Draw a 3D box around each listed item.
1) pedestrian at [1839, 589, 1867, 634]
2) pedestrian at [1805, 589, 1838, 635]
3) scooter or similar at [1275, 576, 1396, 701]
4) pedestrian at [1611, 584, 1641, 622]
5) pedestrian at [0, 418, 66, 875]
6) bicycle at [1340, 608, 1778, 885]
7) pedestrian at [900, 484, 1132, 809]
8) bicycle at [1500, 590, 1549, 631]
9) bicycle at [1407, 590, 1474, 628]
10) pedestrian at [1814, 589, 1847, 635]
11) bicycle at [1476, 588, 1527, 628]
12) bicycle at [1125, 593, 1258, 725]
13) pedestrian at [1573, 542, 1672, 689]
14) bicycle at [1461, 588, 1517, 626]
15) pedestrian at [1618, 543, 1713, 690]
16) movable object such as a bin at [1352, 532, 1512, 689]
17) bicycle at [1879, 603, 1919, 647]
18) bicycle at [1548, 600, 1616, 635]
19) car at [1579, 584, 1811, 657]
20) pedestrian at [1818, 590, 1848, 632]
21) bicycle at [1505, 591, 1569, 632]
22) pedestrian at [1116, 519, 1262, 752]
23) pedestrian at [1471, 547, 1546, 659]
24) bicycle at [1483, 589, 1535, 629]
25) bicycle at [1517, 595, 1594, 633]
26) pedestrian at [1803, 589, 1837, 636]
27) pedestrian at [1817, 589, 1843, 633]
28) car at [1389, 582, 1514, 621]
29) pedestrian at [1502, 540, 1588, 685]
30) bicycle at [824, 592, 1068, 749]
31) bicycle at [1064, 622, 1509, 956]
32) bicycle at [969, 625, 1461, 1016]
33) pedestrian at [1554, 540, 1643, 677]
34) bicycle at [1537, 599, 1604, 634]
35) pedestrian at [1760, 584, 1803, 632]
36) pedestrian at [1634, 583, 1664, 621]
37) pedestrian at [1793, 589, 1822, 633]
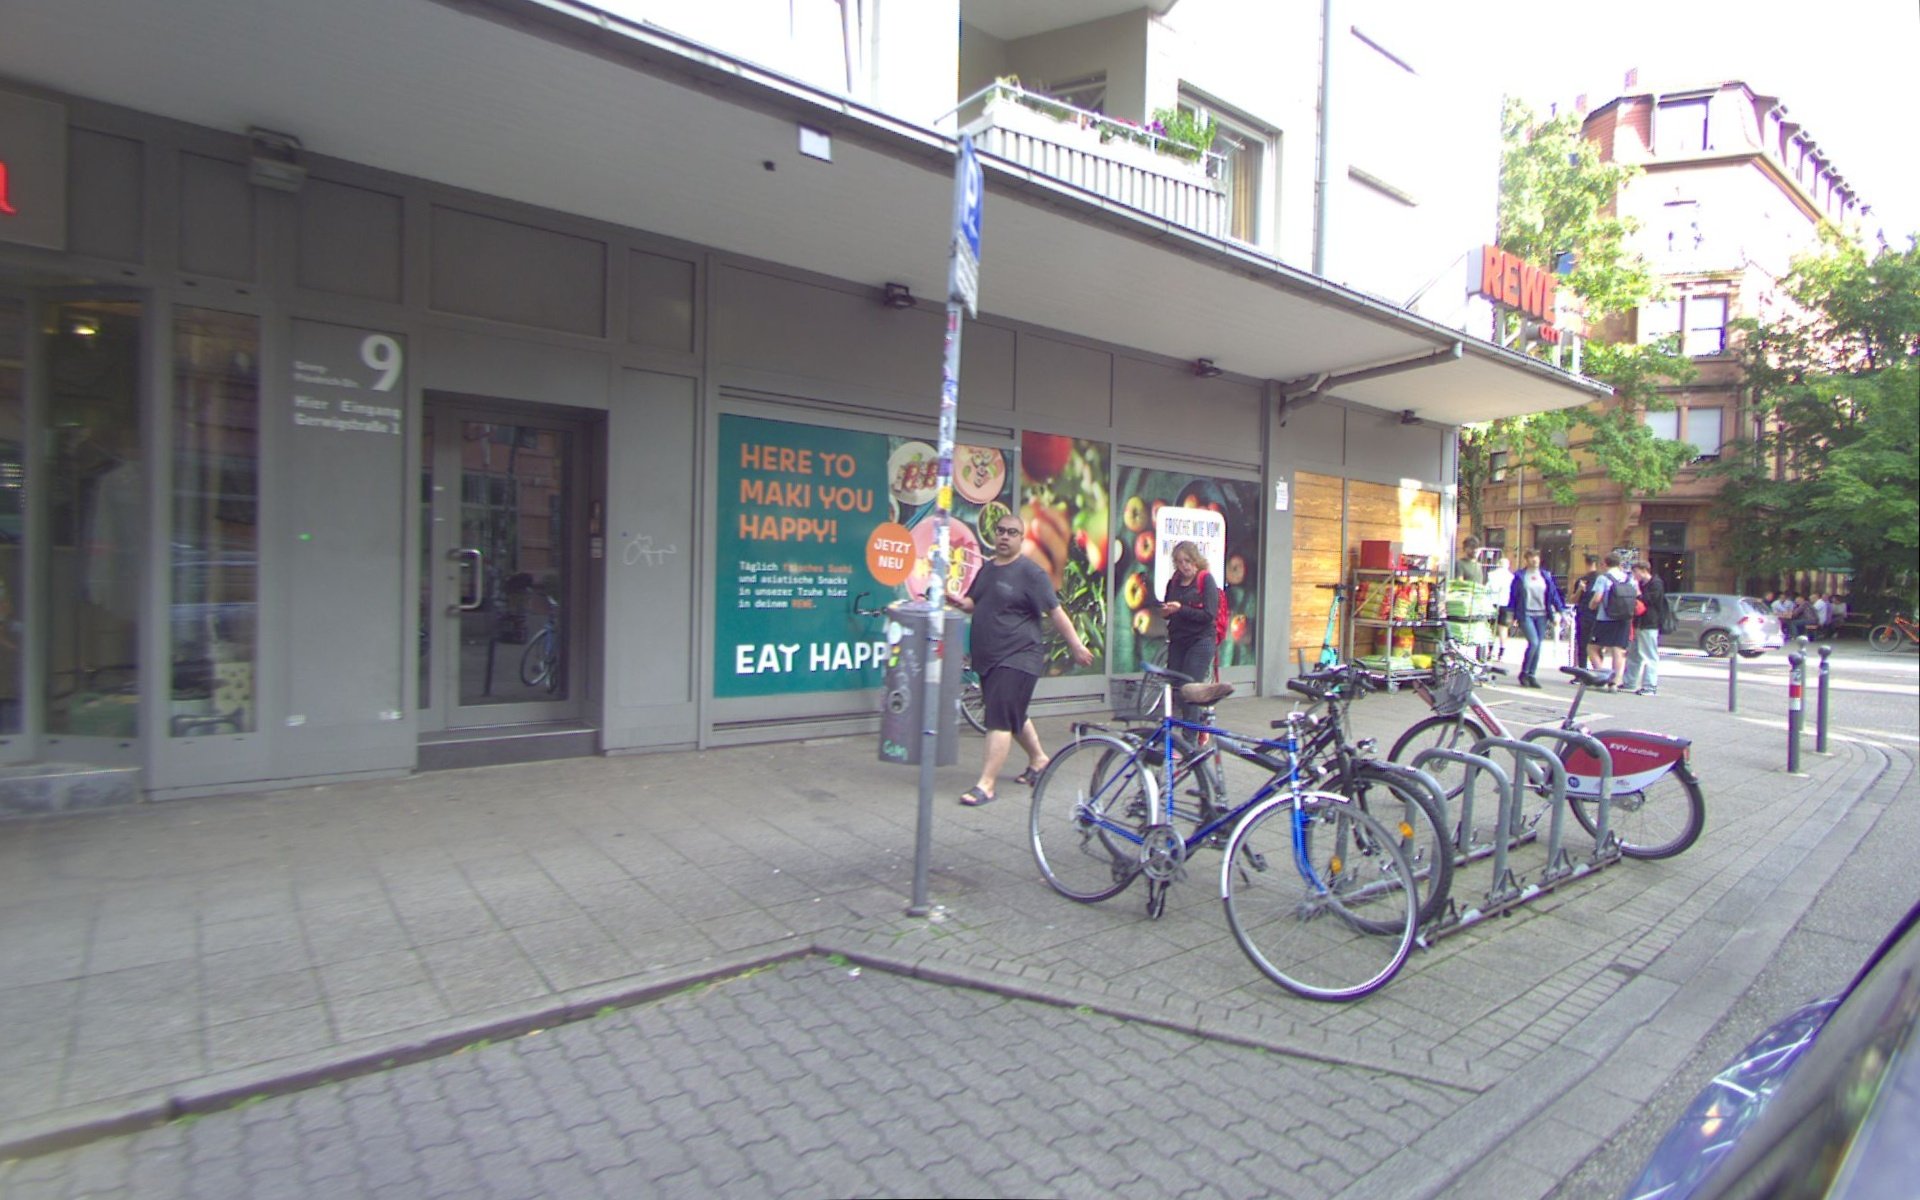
[{"bbox_3d":[27.574,0.338,31.249,0.462,1.343,0.616,2,2,28],"label":"pedestrian"},{"bbox_3d":[25.113,0.344,29.503,0.726,1.332,0.513,0,0,40],"label":"pedestrian"},{"bbox_3d":[4.034,0.382,10.847,1.234,1.227,0.633,1,3,-41],"label":"scooter or similar"},{"bbox_3d":[22.521,0.089,34.231,0.628,1.239,0.513,-1,3,-6],"label":"pedestrian"},{"bbox_3d":[-4.108,0.160,4.012,0.802,1.768,0.715,1,3,-40],"label":"pedestrian"},{"bbox_3d":[3.288,0.694,5.723,0.891,1.139,1.887,1,4,-40],"label":"bicycle"},{"bbox_3d":[0.336,0.228,6.148,1.030,1.768,0.851,1,3,-40],"label":"pedestrian"},{"bbox_3d":[17.577,0.310,31.514,1.677,1.216,0.449,-1,2,-27],"label":"bicycle"},{"bbox_3d":[15.898,0.274,33.547,0.570,1.109,2.506,-3,3,-12],"label":"bicycle"},{"bbox_3d":[25.677,0.348,29.855,0.726,1.332,0.599,0,0,40],"label":"pedestrian"},{"bbox_3d":[17.411,0.255,32.534,1.676,1.216,0.449,-1,2,-21],"label":"bicycle"},{"bbox_3d":[2.196,0.490,9.456,0.673,1.055,1.715,2,3,32],"label":"bicycle"},{"bbox_3d":[8.539,0.180,13.077,0.620,1.819,0.716,4,2,-5],"label":"pedestrian"},{"bbox_3d":[17.274,0.228,33.065,1.677,1.216,0.449,-1,2,-9],"label":"bicycle"},{"bbox_3d":[9.186,0.198,13.204,0.705,1.819,0.629,5,3,17],"label":"pedestrian"},{"bbox_3d":[5.821,0.106,12.414,2.379,1.766,0.781,0,1,-39],"label":"movable object such as a bin"},{"bbox_3d":[24.299,0.651,25.292,0.671,1.048,1.856,0,2,-38],"label":"bicycle"},{"bbox_3d":[18.026,0.506,29.331,1.680,0.999,0.448,0,2,0],"label":"bicycle"},{"bbox_3d":[16.963,0.393,23.530,1.763,1.455,4.001,-1,2,-35],"label":"car"},{"bbox_3d":[26.907,0.332,31.206,0.543,1.247,0.616,2,2,28],"label":"pedestrian"},{"bbox_3d":[17.545,0.336,30.789,1.680,1.216,0.448,0,2,0],"label":"bicycle"},{"bbox_3d":[1.739,0.236,7.698,0.699,1.652,0.724,1,3,-40],"label":"pedestrian"},{"bbox_3d":[9.596,0.030,17.746,0.875,1.856,1.041,3,3,18],"label":"pedestrian"},{"bbox_3d":[17.387,0.282,32.039,1.676,1.216,0.449,-1,2,-21],"label":"bicycle"},{"bbox_3d":[17.770,0.423,30.213,2.006,1.102,0.448,0,2,0],"label":"bicycle"},{"bbox_3d":[24.758,0.342,29.137,0.726,1.332,0.513,0,0,40],"label":"pedestrian"},{"bbox_3d":[27.369,0.338,31.842,0.462,1.343,0.616,2,2,28],"label":"pedestrian"},{"bbox_3d":[17.886,0.045,36.844,4.026,1.286,1.571,-1,1,-15],"label":"car"},{"bbox_3d":[7.479,0.142,12.927,0.762,1.775,0.917,2,1,40],"label":"pedestrian"},{"bbox_3d":[-0.078,0.482,7.751,1.751,1.027,0.744,0,4,-39],"label":"bicycle"},{"bbox_3d":[1.375,0.717,4.544,1.788,1.084,0.560,5,3,43],"label":"bicycle"},{"bbox_3d":[0.913,0.719,4.013,1.788,1.084,0.578,5,3,43],"label":"bicycle"},{"bbox_3d":[8.805,0.115,13.971,0.645,1.819,0.657,3,3,-25],"label":"pedestrian"},{"bbox_3d":[17.937,0.489,29.764,1.680,0.999,0.448,0,2,0],"label":"bicycle"},{"bbox_3d":[24.566,0.234,30.268,0.656,1.396,0.718,1,1,-3],"label":"pedestrian"},{"bbox_3d":[23.299,0.059,34.222,0.628,1.274,0.513,-1,3,-6],"label":"pedestrian"},{"bbox_3d":[26.462,0.329,31.601,0.543,1.317,0.616,2,2,28],"label":"pedestrian"}]
